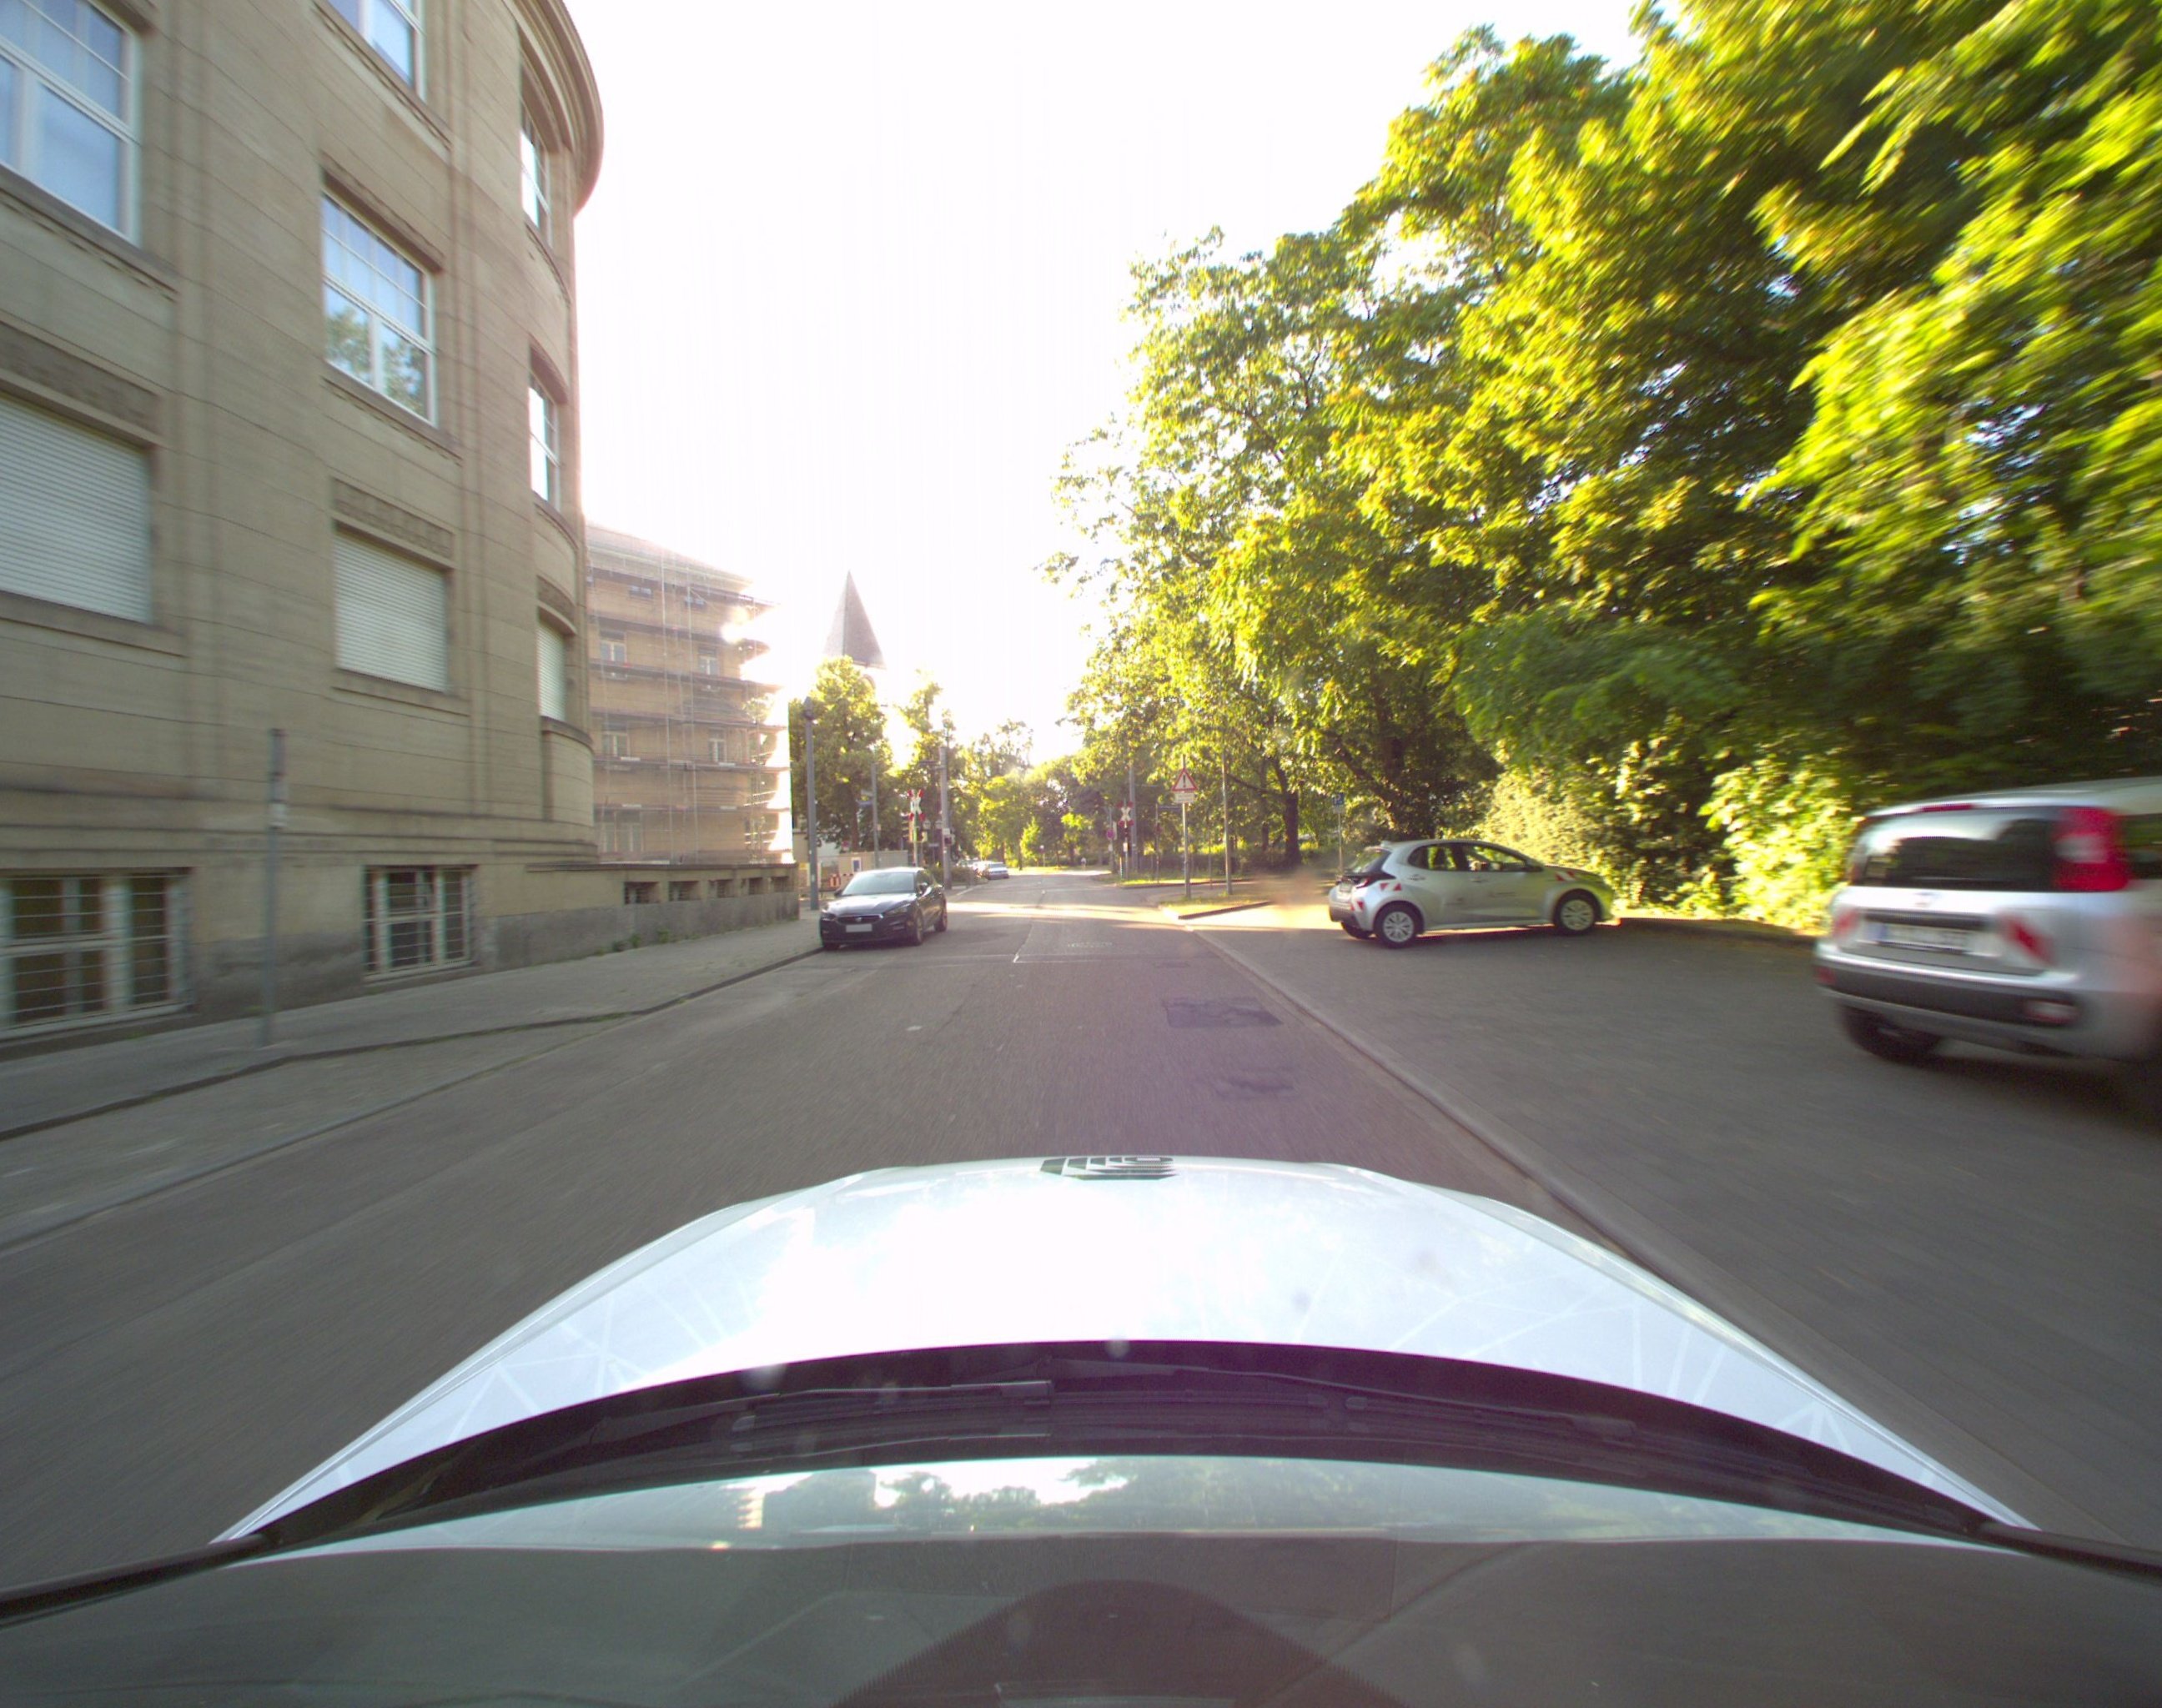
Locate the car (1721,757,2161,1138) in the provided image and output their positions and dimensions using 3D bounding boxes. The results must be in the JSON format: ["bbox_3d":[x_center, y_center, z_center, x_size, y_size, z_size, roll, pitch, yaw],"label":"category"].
[{"bbox_3d":[5.866,0.311,4.395,3.383,1.631,1.680,-4,0,2],"label":"car"}]

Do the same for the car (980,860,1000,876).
[{"bbox_3d":[-9.291,1.441,83.125,1.613,1.440,3.591,-4,0,-11],"label":"car"}]

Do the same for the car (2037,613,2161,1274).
[{"bbox_3d":[5.638,0.101,1.741,4.783,1.998,2.079,-4,0,-2],"label":"car"}]

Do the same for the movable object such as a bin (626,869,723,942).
[{"bbox_3d":[-9.156,1.135,18.409,1.138,1.486,1.633,-3,0,11],"label":"movable object such as a bin"}]

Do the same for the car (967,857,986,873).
[{"bbox_3d":[-13.188,1.386,102.905,1.853,1.946,4.819,-2,0,-13],"label":"car"}]

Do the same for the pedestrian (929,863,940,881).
[{"bbox_3d":[-10.757,1.339,59.795,0.548,1.298,0.767,-2,0,5],"label":"pedestrian"}]

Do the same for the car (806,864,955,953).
[{"bbox_3d":[-3.789,0.970,16.194,1.737,1.448,4.210,-3,0,2],"label":"car"}]

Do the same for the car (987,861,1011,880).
[{"bbox_3d":[-7.090,1.399,69.814,1.779,1.415,4.485,-4,0,-8],"label":"car"}]

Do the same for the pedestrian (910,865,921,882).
[{"bbox_3d":[-12.077,1.423,59.508,0.548,1.233,0.726,-2,0,5],"label":"pedestrian"}]

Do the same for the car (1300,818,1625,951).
[{"bbox_3d":[5.527,0.423,12.169,3.974,1.546,1.735,-4,0,0],"label":"car"}]

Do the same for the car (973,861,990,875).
[{"bbox_3d":[-11.603,1.623,94.591,1.618,1.501,3.680,-2,0,-13],"label":"car"}]

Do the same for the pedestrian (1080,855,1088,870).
[{"bbox_3d":[0.335,0.948,91.572,0.771,1.574,0.767,-3,0,-3],"label":"pedestrian"}]
